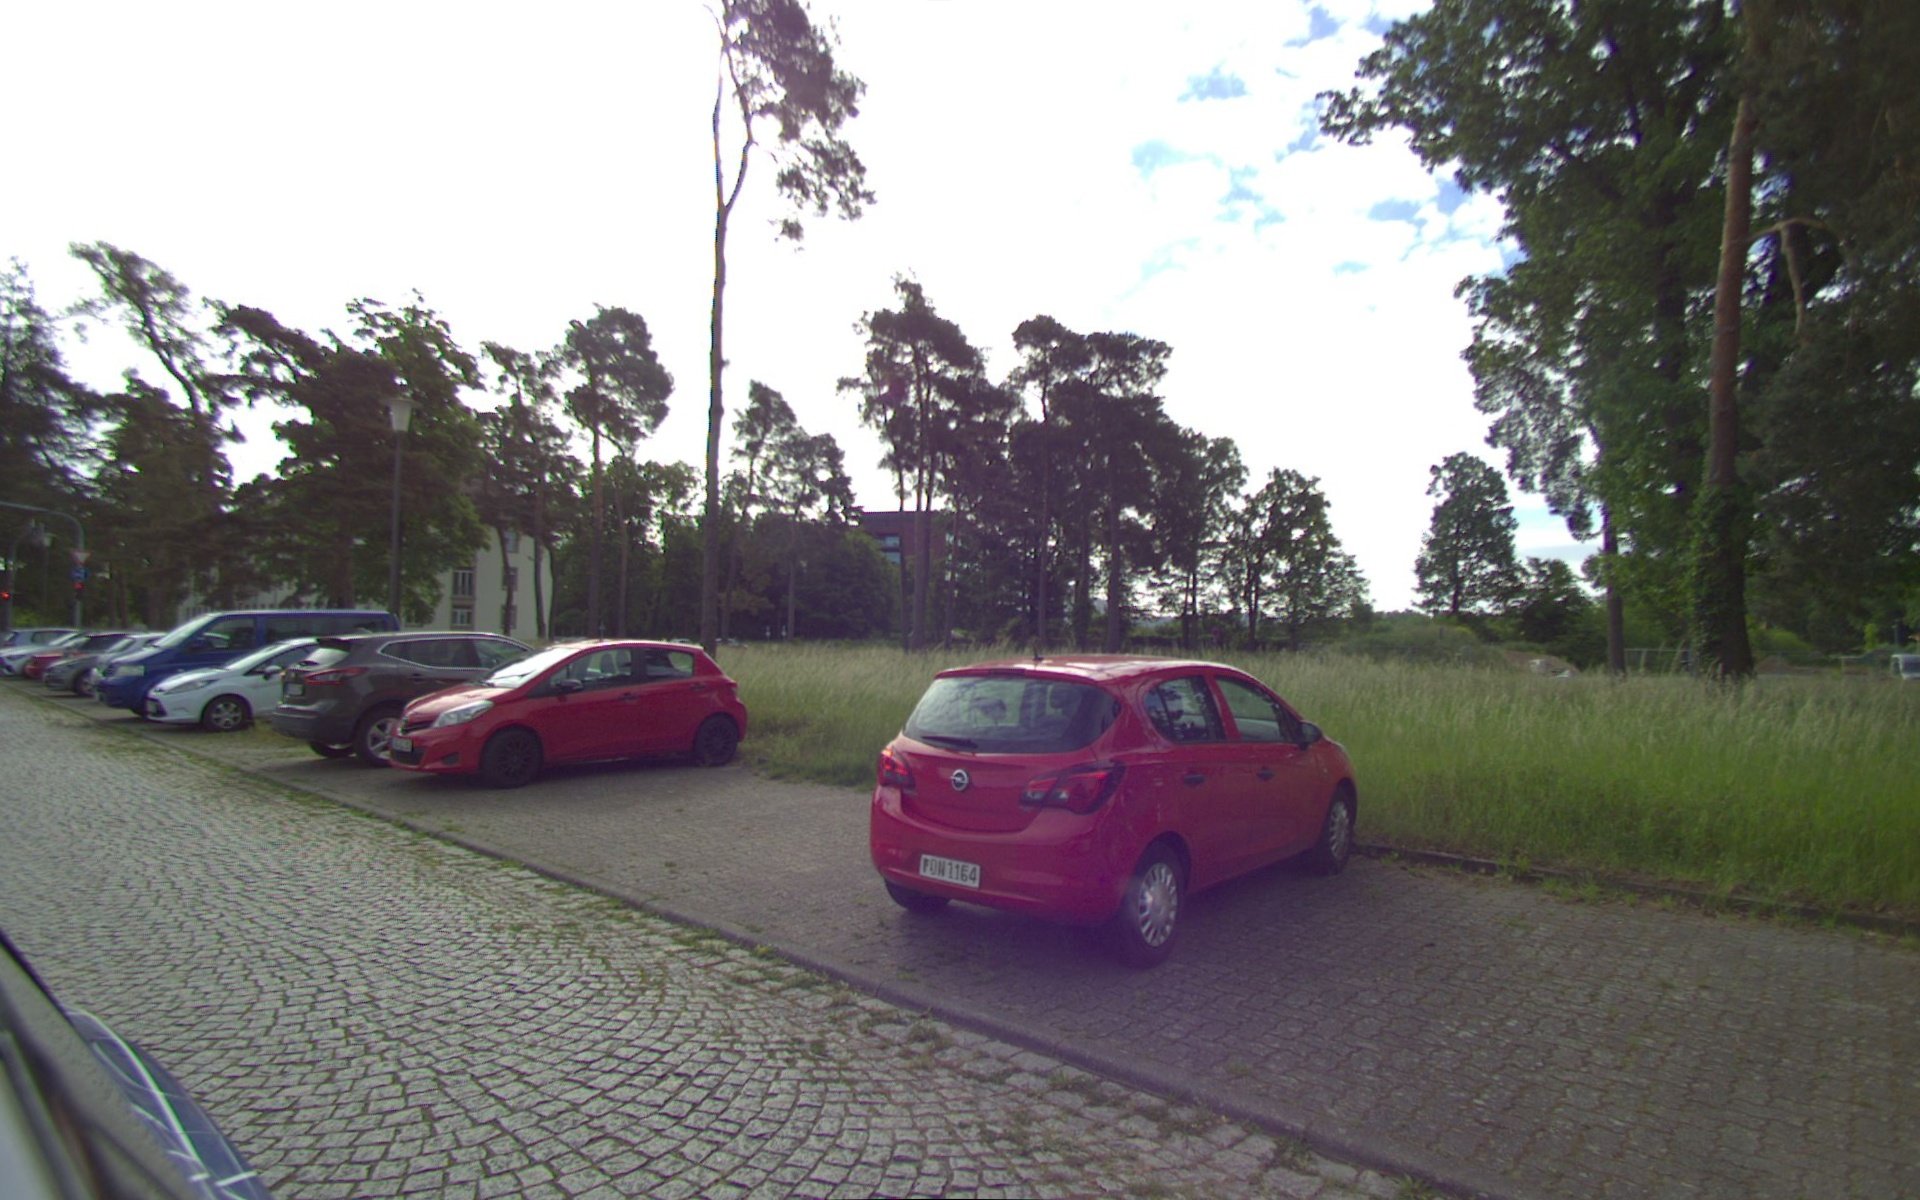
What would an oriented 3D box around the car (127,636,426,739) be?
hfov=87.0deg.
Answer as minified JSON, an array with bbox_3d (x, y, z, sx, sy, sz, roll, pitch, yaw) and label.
[{"bbox_3d":[-11.424,1.373,17.128,1.741,1.403,3.880,0,0,39],"label":"car"}]

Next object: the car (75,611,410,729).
[{"bbox_3d":[-13.302,1.166,19.028,2.160,1.880,4.772,0,0,39],"label":"car"}]

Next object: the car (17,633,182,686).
[{"bbox_3d":[-25.291,1.695,29.805,1.621,1.358,3.600,0,0,45],"label":"car"}]

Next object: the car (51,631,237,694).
[{"bbox_3d":[-21.384,1.587,26.636,1.602,1.445,3.532,0,0,34],"label":"car"}]

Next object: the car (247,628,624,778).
[{"bbox_3d":[-6.576,1.233,13.041,1.819,1.616,3.867,-2,-4,38],"label":"car"}]

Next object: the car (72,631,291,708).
[{"bbox_3d":[-17.345,1.483,22.694,1.683,1.465,3.559,0,0,34],"label":"car"}]

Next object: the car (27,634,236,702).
[{"bbox_3d":[-19.666,1.561,24.159,1.614,1.431,3.559,0,-1,34],"label":"car"}]

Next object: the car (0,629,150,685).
[{"bbox_3d":[-27.154,1.672,30.874,1.598,1.499,3.533,0,0,33],"label":"car"}]

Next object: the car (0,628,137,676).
[{"bbox_3d":[-30.839,1.753,34.976,1.623,1.443,3.418,0,0,31],"label":"car"}]

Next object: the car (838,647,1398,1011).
[{"bbox_3d":[1.230,1.054,6.282,1.670,1.490,3.844,-2,-3,40],"label":"car"}]

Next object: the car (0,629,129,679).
[{"bbox_3d":[-29.483,1.726,32.923,1.625,1.469,3.527,0,0,39],"label":"car"}]

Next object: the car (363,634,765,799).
[{"bbox_3d":[-4.314,1.195,11.498,1.706,1.532,3.899,-2,-4,41],"label":"car"}]

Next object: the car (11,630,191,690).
[{"bbox_3d":[-23.752,1.614,28.084,1.634,1.427,3.532,0,0,34],"label":"car"}]
